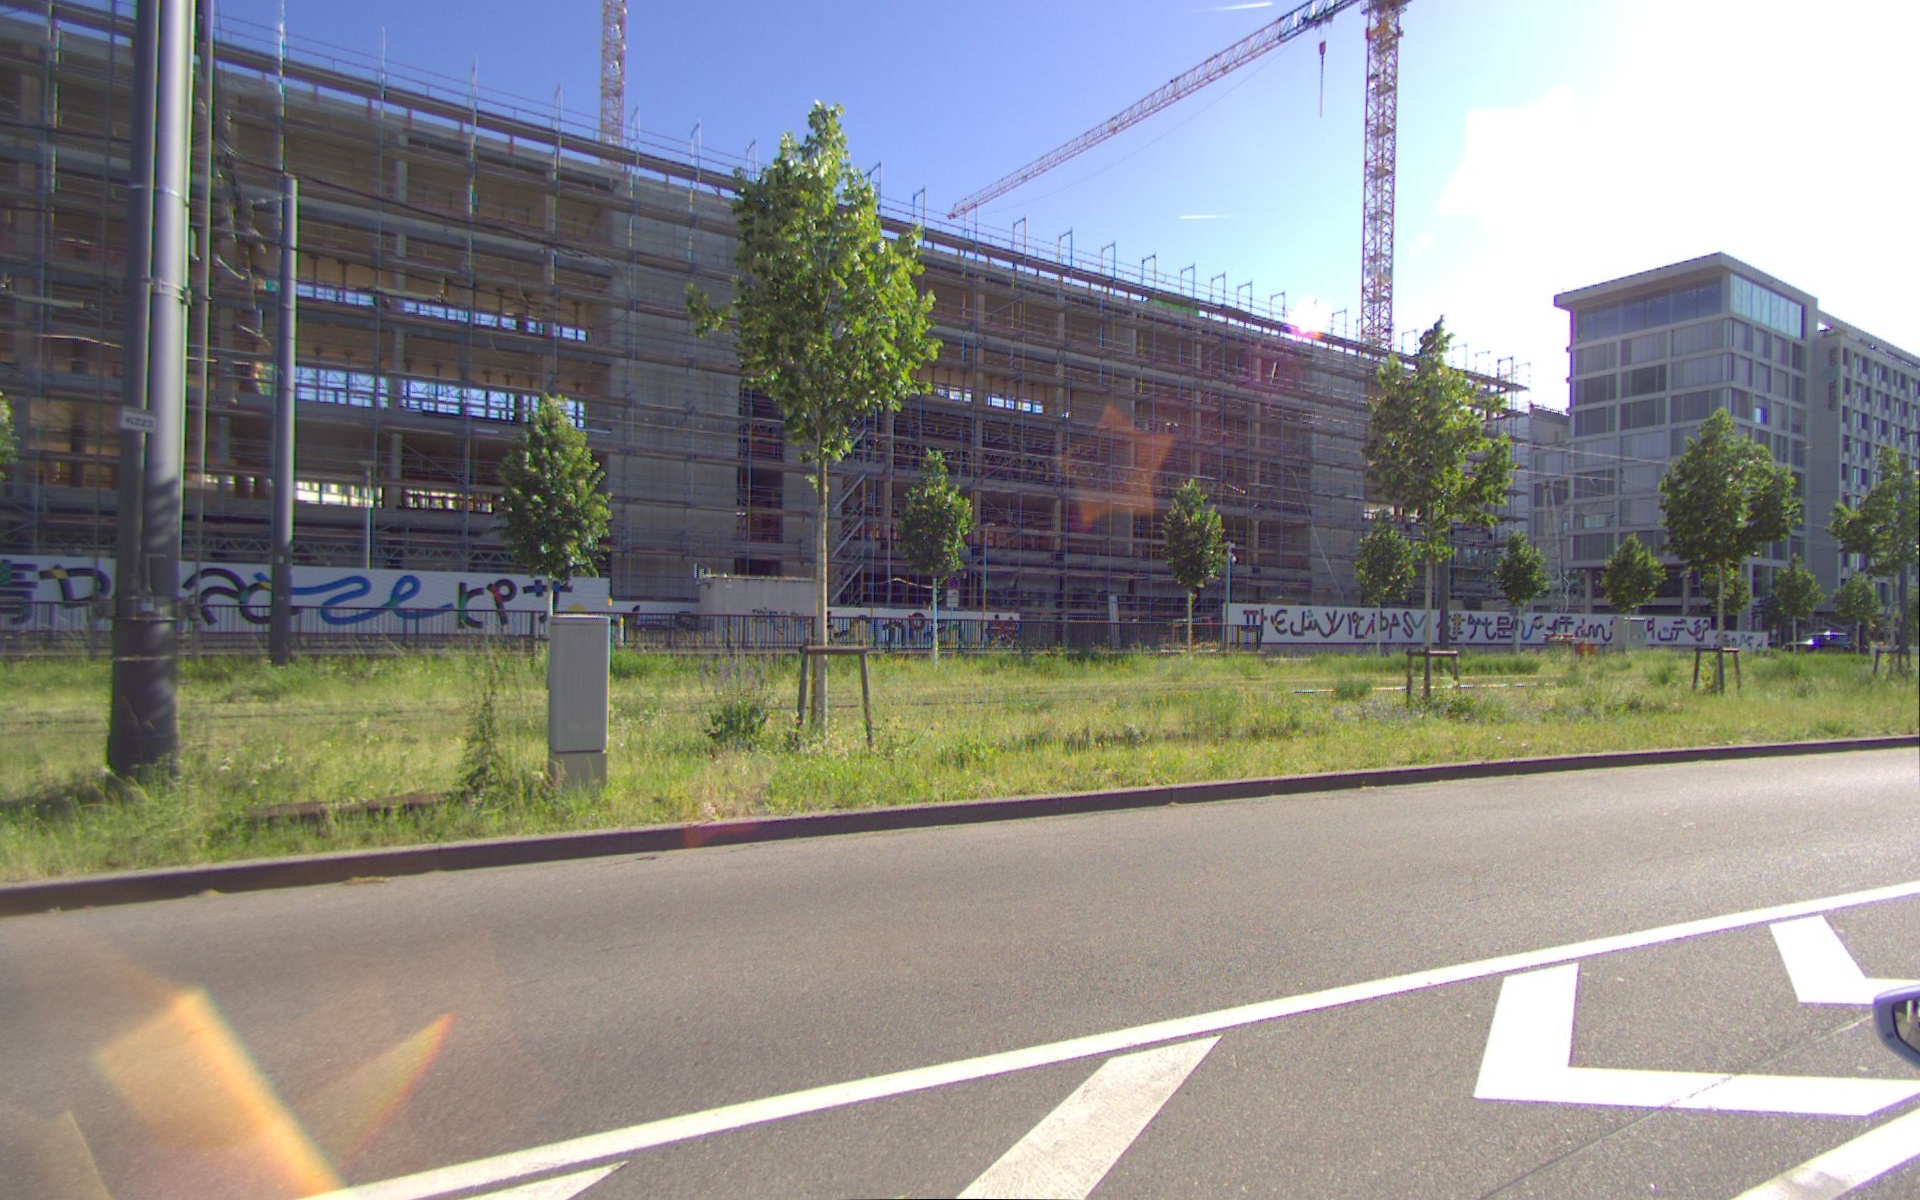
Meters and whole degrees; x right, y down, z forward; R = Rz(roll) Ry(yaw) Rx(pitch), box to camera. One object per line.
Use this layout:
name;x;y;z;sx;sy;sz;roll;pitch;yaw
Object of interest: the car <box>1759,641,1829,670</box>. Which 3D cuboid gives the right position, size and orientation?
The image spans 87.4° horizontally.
car;58.073;3.821;69.974;4.263;1.943;1.906;1;-1;-21
